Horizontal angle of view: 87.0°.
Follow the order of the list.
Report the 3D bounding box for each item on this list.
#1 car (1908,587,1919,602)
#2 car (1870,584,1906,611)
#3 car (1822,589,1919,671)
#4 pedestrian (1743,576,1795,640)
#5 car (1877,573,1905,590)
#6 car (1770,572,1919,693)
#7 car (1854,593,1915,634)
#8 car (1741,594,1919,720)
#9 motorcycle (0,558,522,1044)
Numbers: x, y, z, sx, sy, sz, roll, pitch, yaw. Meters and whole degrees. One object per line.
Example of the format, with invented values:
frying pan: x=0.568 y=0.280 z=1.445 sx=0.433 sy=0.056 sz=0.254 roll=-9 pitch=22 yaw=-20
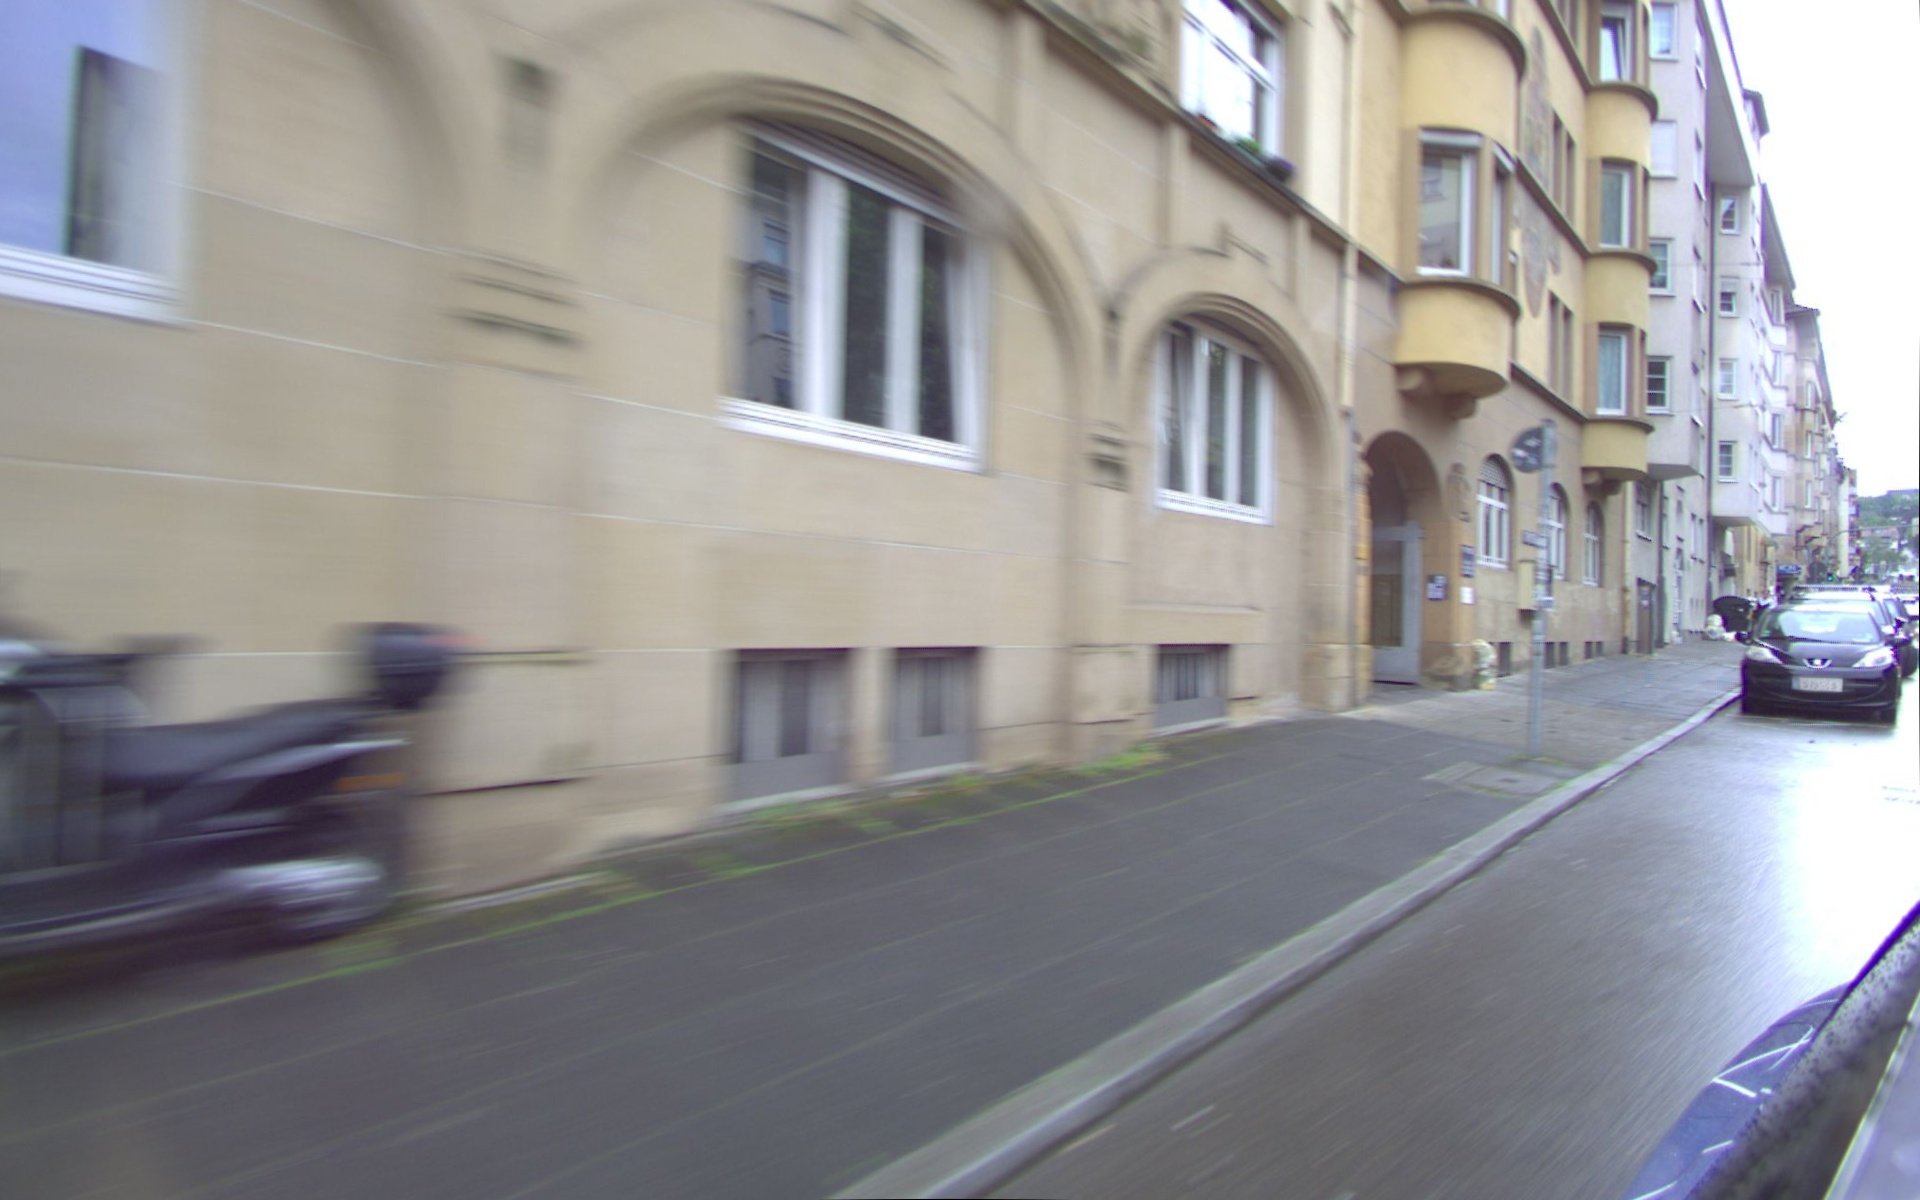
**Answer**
car: x=134.645 y=-0.784 z=142.216 sx=1.993 sy=1.994 sz=3.938 roll=1 pitch=1 yaw=43
car: x=72.844 y=-0.211 z=79.439 sx=1.994 sy=1.994 sz=3.937 roll=1 pitch=1 yaw=44
car: x=19.534 y=0.565 z=21.448 sx=1.645 sy=1.565 sz=3.962 roll=1 pitch=1 yaw=45
pedestrian: x=22.768 y=0.211 z=28.498 sx=1.120 sy=1.734 sz=1.086 roll=1 pitch=1 yaw=39
car: x=96.821 y=-1.929 z=105.261 sx=3.935 sy=1.794 sz=1.995 roll=-1 pitch=1 yaw=-45
car: x=15.313 y=0.470 z=17.399 sx=1.737 sy=1.821 sz=4.196 roll=1 pitch=1 yaw=45
car: x=36.936 y=0.502 z=40.407 sx=1.645 sy=1.496 sz=3.962 roll=2 pitch=1 yaw=45
car: x=12.168 y=0.670 z=14.041 sx=1.630 sy=1.470 sz=3.935 roll=2 pitch=1 yaw=45
motorcycle: x=-2.463 y=0.531 z=3.265 sx=0.691 sy=1.252 sz=1.751 roll=9 pitch=6 yaw=43
